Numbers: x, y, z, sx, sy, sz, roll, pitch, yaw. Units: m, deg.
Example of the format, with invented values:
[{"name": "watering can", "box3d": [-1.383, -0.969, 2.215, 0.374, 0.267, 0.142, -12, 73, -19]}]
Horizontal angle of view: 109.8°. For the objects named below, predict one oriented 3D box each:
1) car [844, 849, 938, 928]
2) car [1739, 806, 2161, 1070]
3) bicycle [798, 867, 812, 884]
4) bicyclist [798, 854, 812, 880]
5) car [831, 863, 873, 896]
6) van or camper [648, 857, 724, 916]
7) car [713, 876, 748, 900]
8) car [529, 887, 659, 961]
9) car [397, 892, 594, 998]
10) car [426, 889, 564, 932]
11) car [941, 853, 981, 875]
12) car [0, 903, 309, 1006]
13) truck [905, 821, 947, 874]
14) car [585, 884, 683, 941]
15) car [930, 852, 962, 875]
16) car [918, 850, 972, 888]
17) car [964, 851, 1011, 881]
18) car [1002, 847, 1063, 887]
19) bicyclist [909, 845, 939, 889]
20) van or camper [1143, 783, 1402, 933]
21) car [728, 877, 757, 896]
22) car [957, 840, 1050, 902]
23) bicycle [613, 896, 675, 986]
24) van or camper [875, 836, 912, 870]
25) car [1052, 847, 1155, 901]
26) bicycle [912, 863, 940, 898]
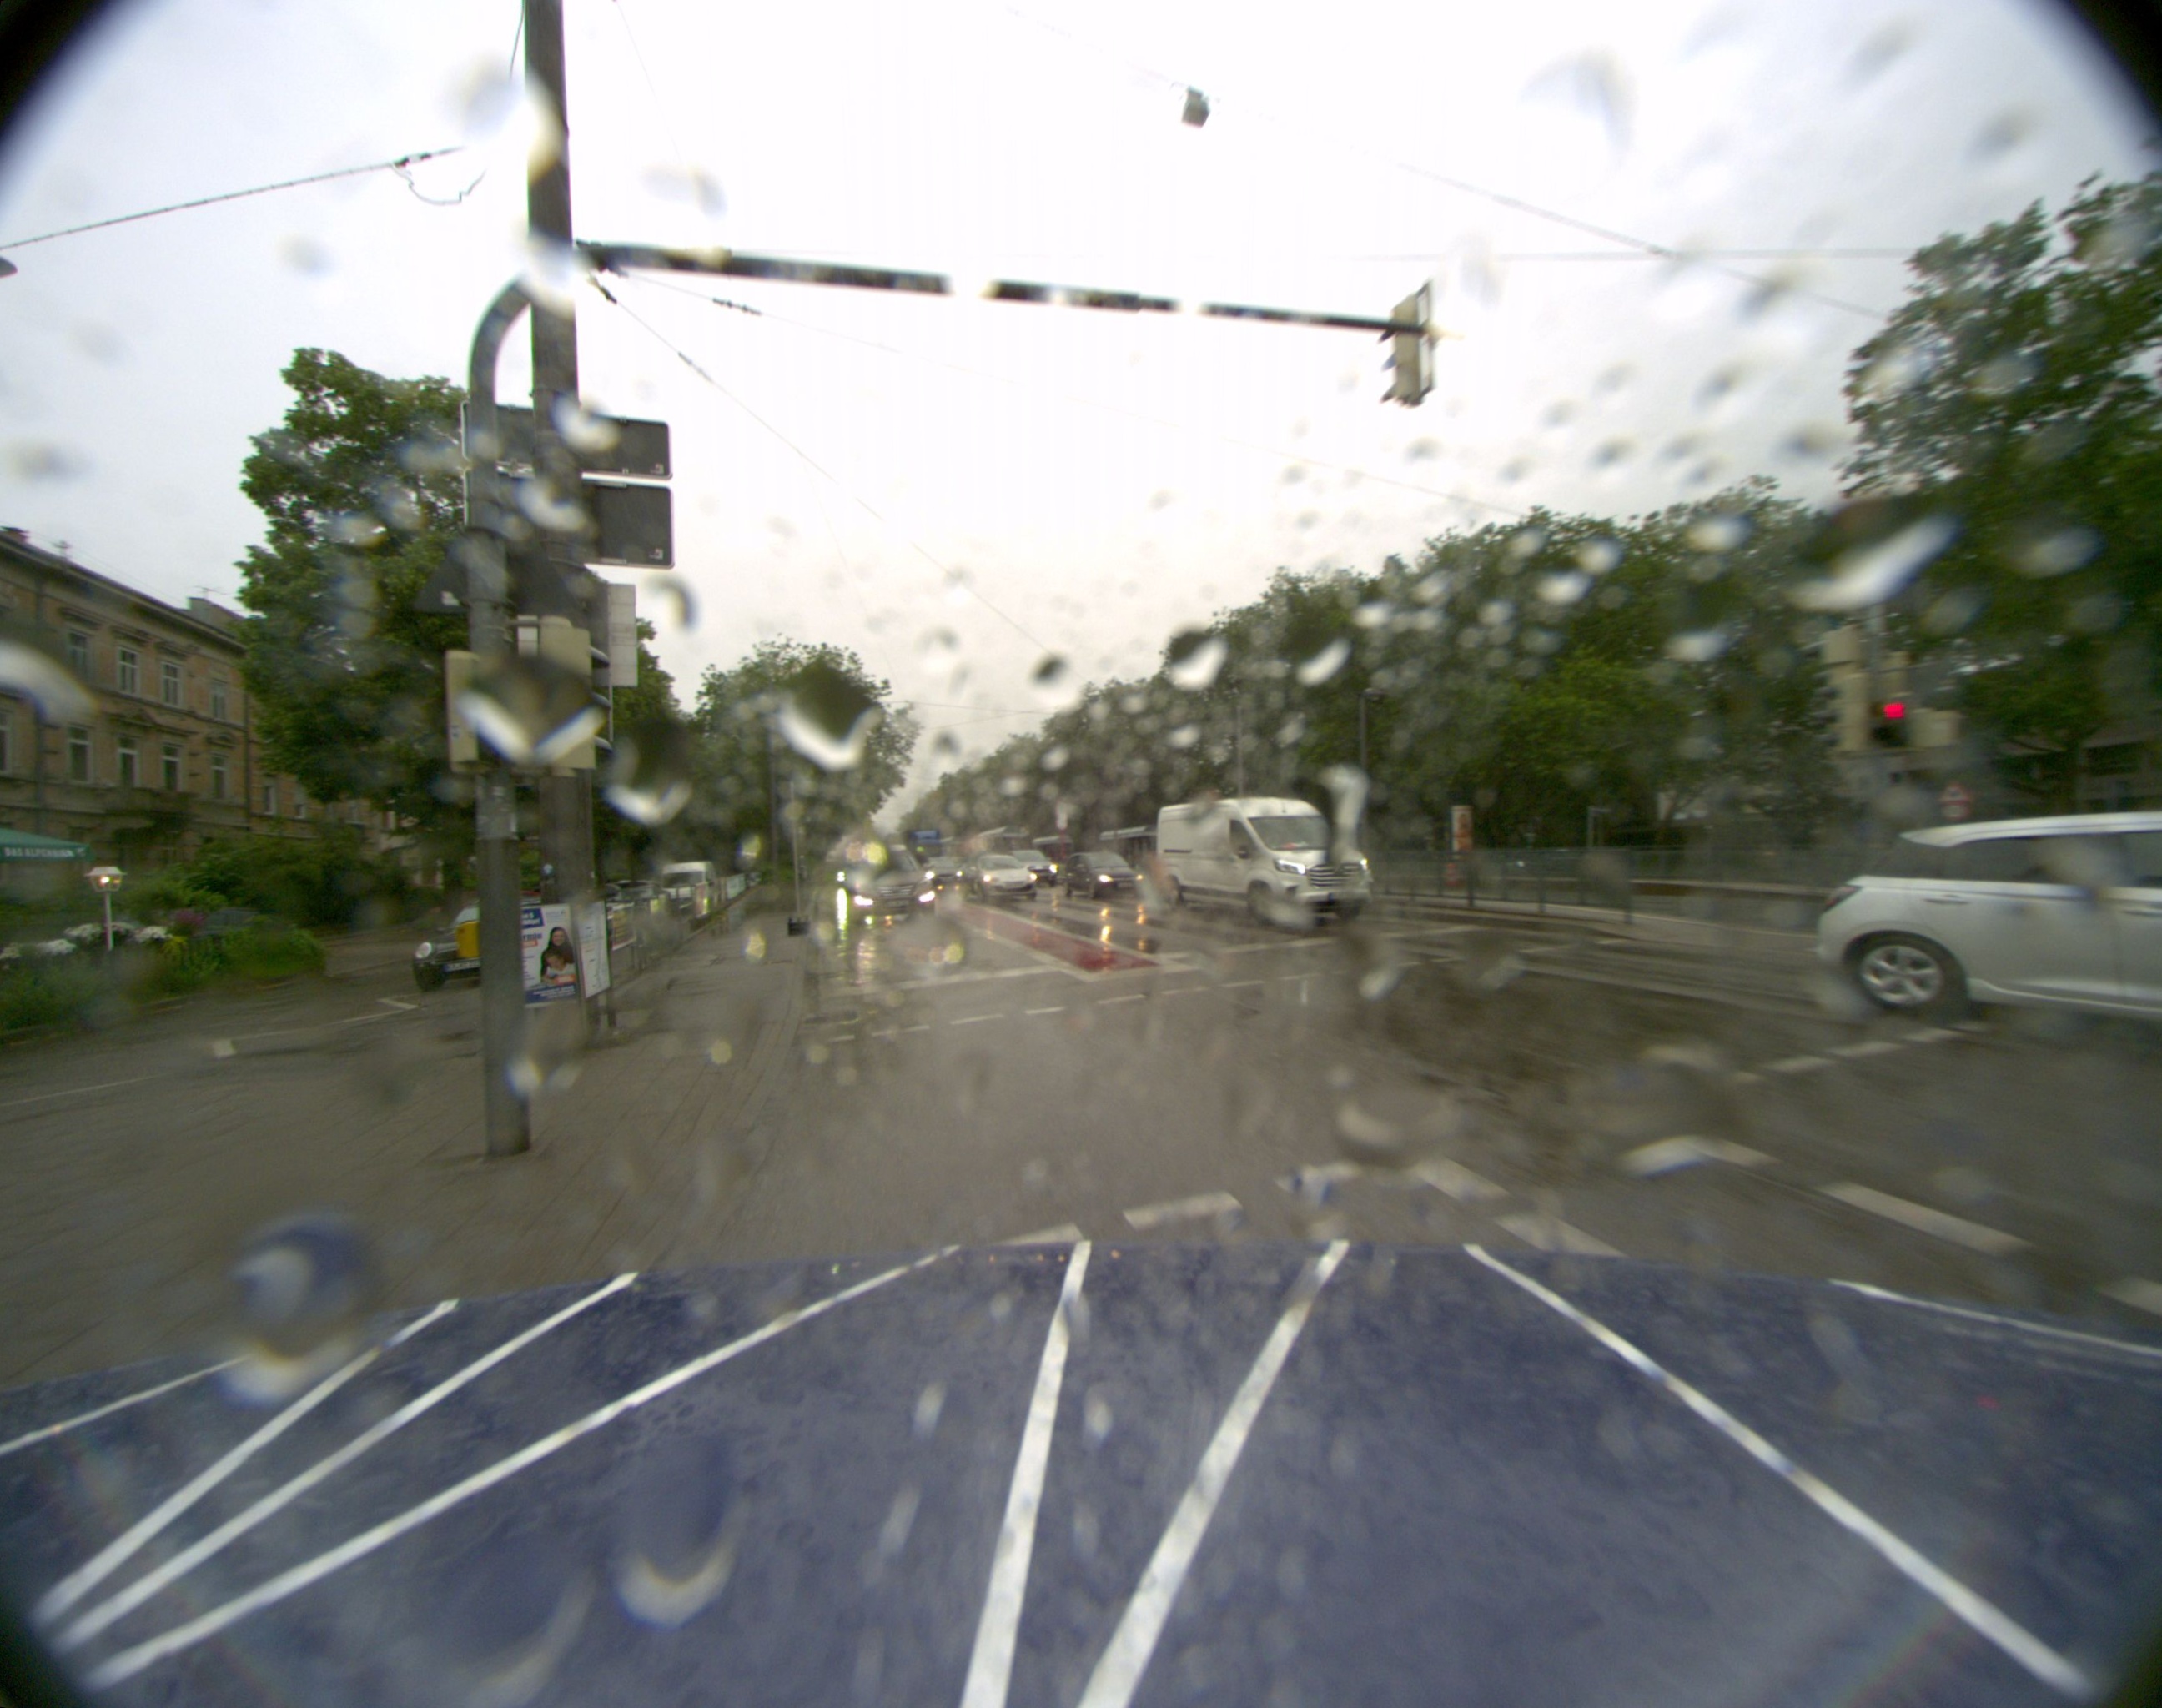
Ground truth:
[{"name": "car", "box3d": [-4.912, 0.795, 19.177, 1.915, 1.637, 4.673, -3, 0, -18]}, {"name": "car", "box3d": [7.237, 0.473, 4.962, 1.809, 1.578, 4.068, -2, 0, -17]}, {"name": "bicycle", "box3d": [-17.573, 1.349, 48.391, 0.741, 1.066, 1.863, -1, -1, -23]}, {"name": "bicyclist", "box3d": [-17.619, 0.816, 48.451, 0.739, 1.646, 0.876, -2, 0, -23]}, {"name": "car", "box3d": [-13.144, 1.412, 43.456, 1.980, 1.677, 4.685, -3, 0, -20]}, {"name": "van or camper", "box3d": [-19.384, 1.523, 37.606, 2.336, 2.576, 6.088, -3, 0, -19]}, {"name": "car", "box3d": [-24.468, 2.346, 53.115, 1.706, 1.364, 3.994, -4, 1, -18]}, {"name": "car", "box3d": [-12.241, 1.682, 19.412, 1.753, 1.455, 4.210, -3, 0, -18]}, {"name": "car", "box3d": [-10.623, 1.556, 14.113, 1.653, 1.491, 3.512, -3, 0, -16]}, {"name": "car", "box3d": [-24.650, 2.332, 32.093, 1.705, 1.461, 4.295, -3, 0, 40]}, {"name": "car", "box3d": [-8.305, 0.704, 52.225, 1.916, 1.399, 4.184, -3, 0, -19]}, {"name": "car", "box3d": [-18.773, 1.916, 15.436, 1.856, 1.499, 4.007, -3, 0, 35]}, {"name": "truck", "box3d": [-13.726, -0.451, 66.736, 2.421, 4.251, 8.341, -3, 0, -18]}, {"name": "car", "box3d": [-14.079, 1.771, 24.163, 1.734, 1.461, 4.210, -3, 0, -18]}, {"name": "car", "box3d": [-10.297, 0.722, 57.933, 1.915, 1.637, 4.185, -3, 0, -16]}, {"name": "car", "box3d": [-6.425, 0.688, 35.408, 1.915, 1.540, 4.660, -3, 0, -16]}, {"name": "car", "box3d": [-5.672, 0.715, 45.706, 1.916, 1.637, 4.184, -3, 0, -19]}, {"name": "car", "box3d": [-2.303, 0.587, 34.819, 1.850, 1.625, 4.242, -3, 0, -16]}, {"name": "bicyclist", "box3d": [-5.536, 0.441, 26.873, 0.928, 1.462, 0.804, -4, 2, -10]}, {"name": "van or camper", "box3d": [3.554, 0.086, 15.752, 2.184, 2.456, 5.961, -3, 0, -20]}, {"name": "car", "box3d": [-28.685, 2.738, 64.461, 1.811, 1.446, 3.994, -3, 0, -18]}, {"name": "car", "box3d": [-2.625, 0.542, 24.815, 1.978, 1.731, 4.260, -3, 0, -20]}, {"name": "bicycle", "box3d": [-6.570, 1.266, 11.498, 0.424, 1.161, 1.790, -5, 0, -20]}, {"name": "van or camper", "box3d": [-14.807, -0.039, 59.807, 2.147, 2.484, 5.704, -3, 0, -20]}, {"name": "car", "box3d": [0.600, 0.638, 24.607, 1.788, 1.504, 4.550, -3, 0, -19]}, {"name": "bicycle", "box3d": [-5.479, 0.919, 26.957, 0.819, 1.082, 1.996, -4, 2, -10]}]
